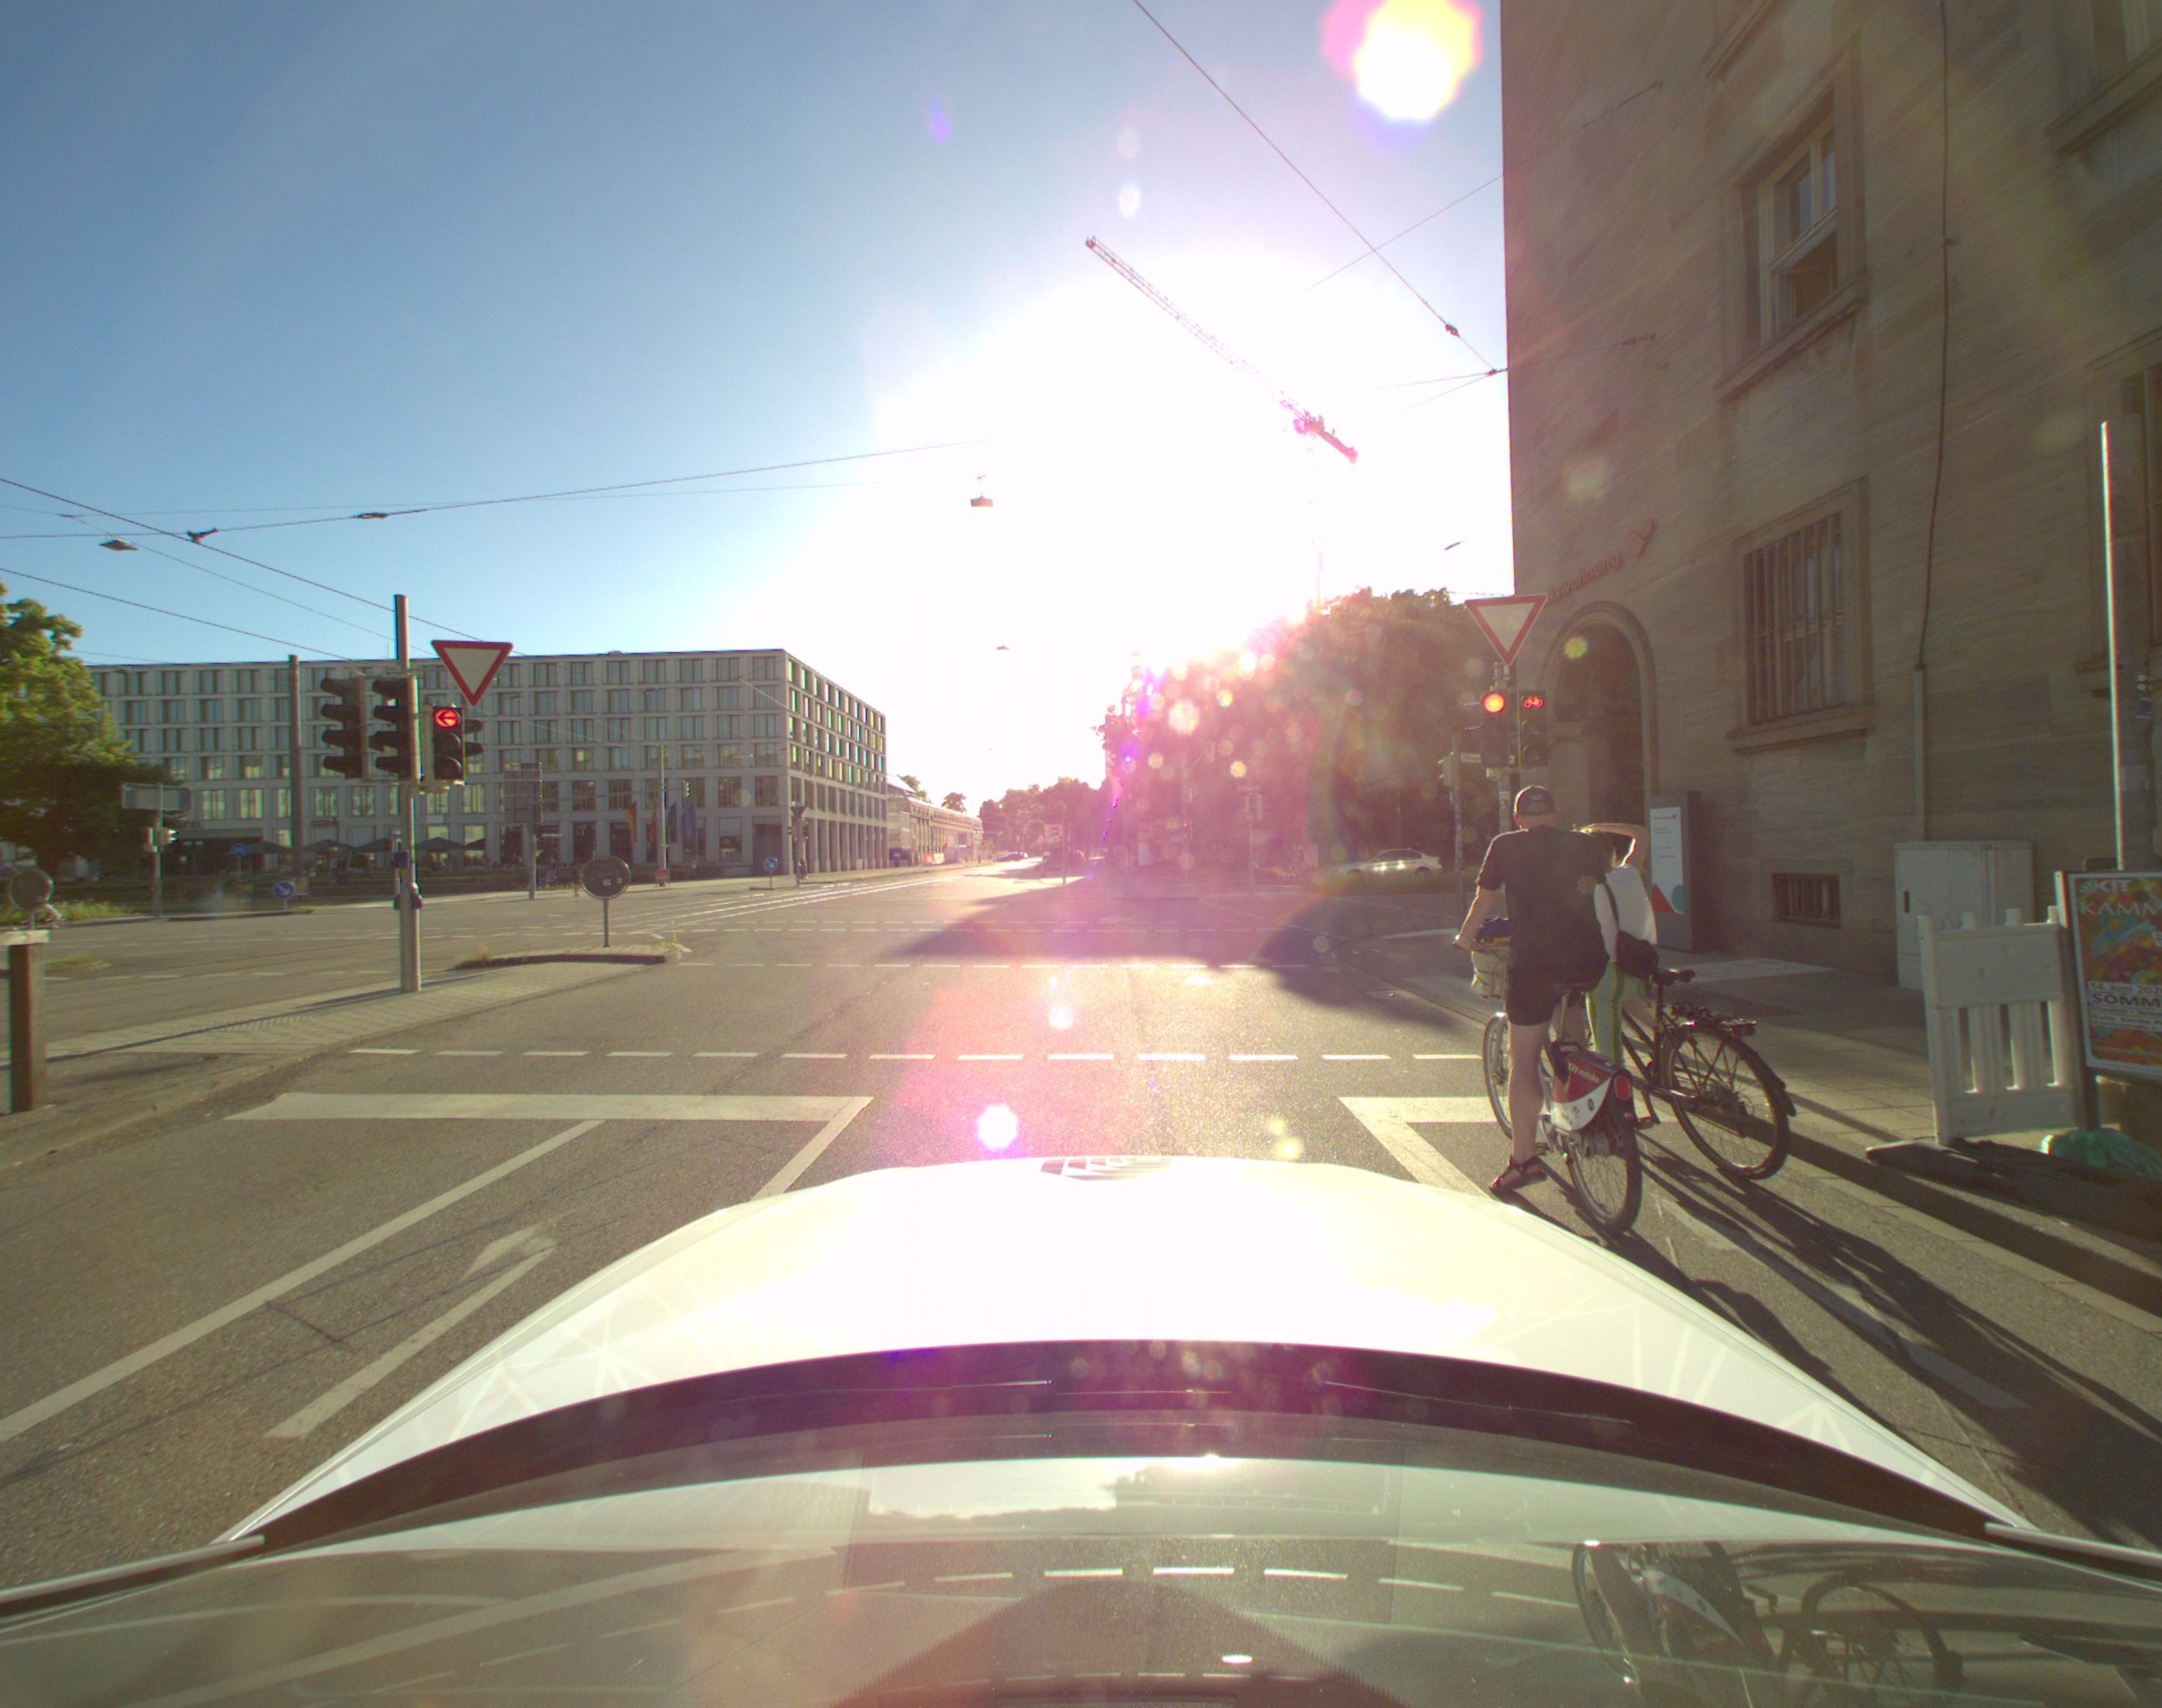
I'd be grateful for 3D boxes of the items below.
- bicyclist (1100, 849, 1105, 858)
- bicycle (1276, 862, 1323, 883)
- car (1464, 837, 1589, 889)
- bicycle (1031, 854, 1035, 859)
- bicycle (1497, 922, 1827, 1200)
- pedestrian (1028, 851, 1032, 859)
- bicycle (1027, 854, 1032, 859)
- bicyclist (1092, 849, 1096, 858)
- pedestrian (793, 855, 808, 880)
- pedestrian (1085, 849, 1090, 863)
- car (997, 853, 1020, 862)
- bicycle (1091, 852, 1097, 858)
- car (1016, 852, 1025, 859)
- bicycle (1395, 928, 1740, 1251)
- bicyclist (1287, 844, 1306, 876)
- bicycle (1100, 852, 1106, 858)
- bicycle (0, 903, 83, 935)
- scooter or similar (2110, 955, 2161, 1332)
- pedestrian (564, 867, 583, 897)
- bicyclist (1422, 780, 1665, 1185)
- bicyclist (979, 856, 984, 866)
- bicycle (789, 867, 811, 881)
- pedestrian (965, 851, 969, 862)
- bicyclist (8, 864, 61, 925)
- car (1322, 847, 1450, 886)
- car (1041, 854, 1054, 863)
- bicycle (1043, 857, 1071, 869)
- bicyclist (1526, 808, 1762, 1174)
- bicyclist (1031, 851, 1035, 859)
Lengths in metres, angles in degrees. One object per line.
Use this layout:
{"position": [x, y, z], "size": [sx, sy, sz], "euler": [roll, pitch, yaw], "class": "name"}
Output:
{"position": [4.927, -0.189, 185.224], "size": [0.891, 2.014, 0.746], "euler": [0, -1, -10], "class": "bicyclist"}
{"position": [9.709, 0.828, 36.283], "size": [1.932, 0.889, 0.719], "euler": [-1, -1, 8], "class": "bicycle"}
{"position": [17.879, 0.350, 32.856], "size": [3.970, 2.014, 2.002], "euler": [0, -1, 3], "class": "car"}
{"position": [-11.635, 0.627, 198.187], "size": [0.748, 1.205, 3.108], "euler": [0, -1, 1], "class": "bicycle"}
{"position": [2.960, 0.970, 4.403], "size": [0.579, 1.044, 1.748], "euler": [-2, 0, 3], "class": "bicycle"}
{"position": [-12.197, 0.213, 192.924], "size": [0.746, 2.063, 1.052], "euler": [0, -1, 7], "class": "pedestrian"}
{"position": [-12.173, 0.672, 193.036], "size": [0.746, 1.205, 3.114], "euler": [0, -1, 7], "class": "bicycle"}
{"position": [2.947, -0.181, 184.438], "size": [0.891, 2.014, 0.746], "euler": [0, -1, -10], "class": "bicyclist"}
{"position": [-18.212, 0.899, 52.821], "size": [0.568, 1.595, 0.746], "euler": [-2, 0, 10], "class": "pedestrian"}
{"position": [0.787, 0.252, 97.810], "size": [0.576, 1.689, 0.584], "euler": [-2, 0, -6], "class": "pedestrian"}
{"position": [-13.882, 0.669, 155.773], "size": [4.008, 1.599, 1.983], "euler": [-2, 0, -26], "class": "car"}
{"position": [2.979, 0.215, 184.339], "size": [0.890, 1.219, 2.784], "euler": [0, -1, -9], "class": "bicycle"}
{"position": [-14.447, 0.312, 195.326], "size": [1.988, 1.644, 3.998], "euler": [-2, 0, -1], "class": "car"}
{"position": [2.179, 0.971, 3.957], "size": [0.621, 1.044, 1.747], "euler": [-2, 0, 1], "class": "bicycle"}
{"position": [9.616, 0.265, 36.296], "size": [0.742, 1.406, 0.704], "euler": [-1, -1, 8], "class": "bicyclist"}
{"position": [4.927, 0.207, 185.154], "size": [0.890, 1.219, 2.784], "euler": [0, -1, -9], "class": "bicycle"}
{"position": [-31.357, 1.937, 24.412], "size": [0.532, 0.787, 1.853], "euler": [-2, 0, 2], "class": "bicycle"}
{"position": [3.260, 0.872, 1.825], "size": [0.568, 1.149, 1.279], "euler": [-6, -2, 24], "class": "scooter or similar"}
{"position": [-28.377, 1.566, 45.568], "size": [0.600, 1.681, 0.608], "euler": [-2, 0, 9], "class": "pedestrian"}
{"position": [2.172, 0.550, 3.947], "size": [0.621, 1.715, 0.913], "euler": [-2, 0, 1], "class": "bicyclist"}
{"position": [-15.293, 1.067, 125.280], "size": [0.492, 1.498, 0.667], "euler": [-2, 0, 4], "class": "bicyclist"}
{"position": [-18.206, 1.289, 52.777], "size": [0.568, 0.823, 1.723], "euler": [-2, 0, 10], "class": "bicycle"}
{"position": [-19.267, 0.391, 137.611], "size": [0.584, 1.889, 0.480], "euler": [-1, -1, 11], "class": "pedestrian"}
{"position": [-31.383, 1.199, 24.434], "size": [0.532, 1.761, 0.771], "euler": [-2, 0, 2], "class": "bicyclist"}
{"position": [12.432, 0.503, 33.414], "size": [4.559, 1.516, 2.001], "euler": [0, -1, 1], "class": "car"}
{"position": [-5.999, 0.847, 147.009], "size": [1.986, 1.640, 4.001], "euler": [0, -1, 2], "class": "car"}
{"position": [-1.981, 0.762, 67.435], "size": [2.240, 0.940, 0.653], "euler": [-2, 0, -4], "class": "bicycle"}
{"position": [2.951, 0.655, 4.369], "size": [0.581, 1.738, 0.951], "euler": [-2, 0, 2], "class": "bicyclist"}
{"position": [-11.660, 0.265, 198.064], "size": [0.748, 1.920, 1.214], "euler": [0, -1, 1], "class": "bicyclist"}
